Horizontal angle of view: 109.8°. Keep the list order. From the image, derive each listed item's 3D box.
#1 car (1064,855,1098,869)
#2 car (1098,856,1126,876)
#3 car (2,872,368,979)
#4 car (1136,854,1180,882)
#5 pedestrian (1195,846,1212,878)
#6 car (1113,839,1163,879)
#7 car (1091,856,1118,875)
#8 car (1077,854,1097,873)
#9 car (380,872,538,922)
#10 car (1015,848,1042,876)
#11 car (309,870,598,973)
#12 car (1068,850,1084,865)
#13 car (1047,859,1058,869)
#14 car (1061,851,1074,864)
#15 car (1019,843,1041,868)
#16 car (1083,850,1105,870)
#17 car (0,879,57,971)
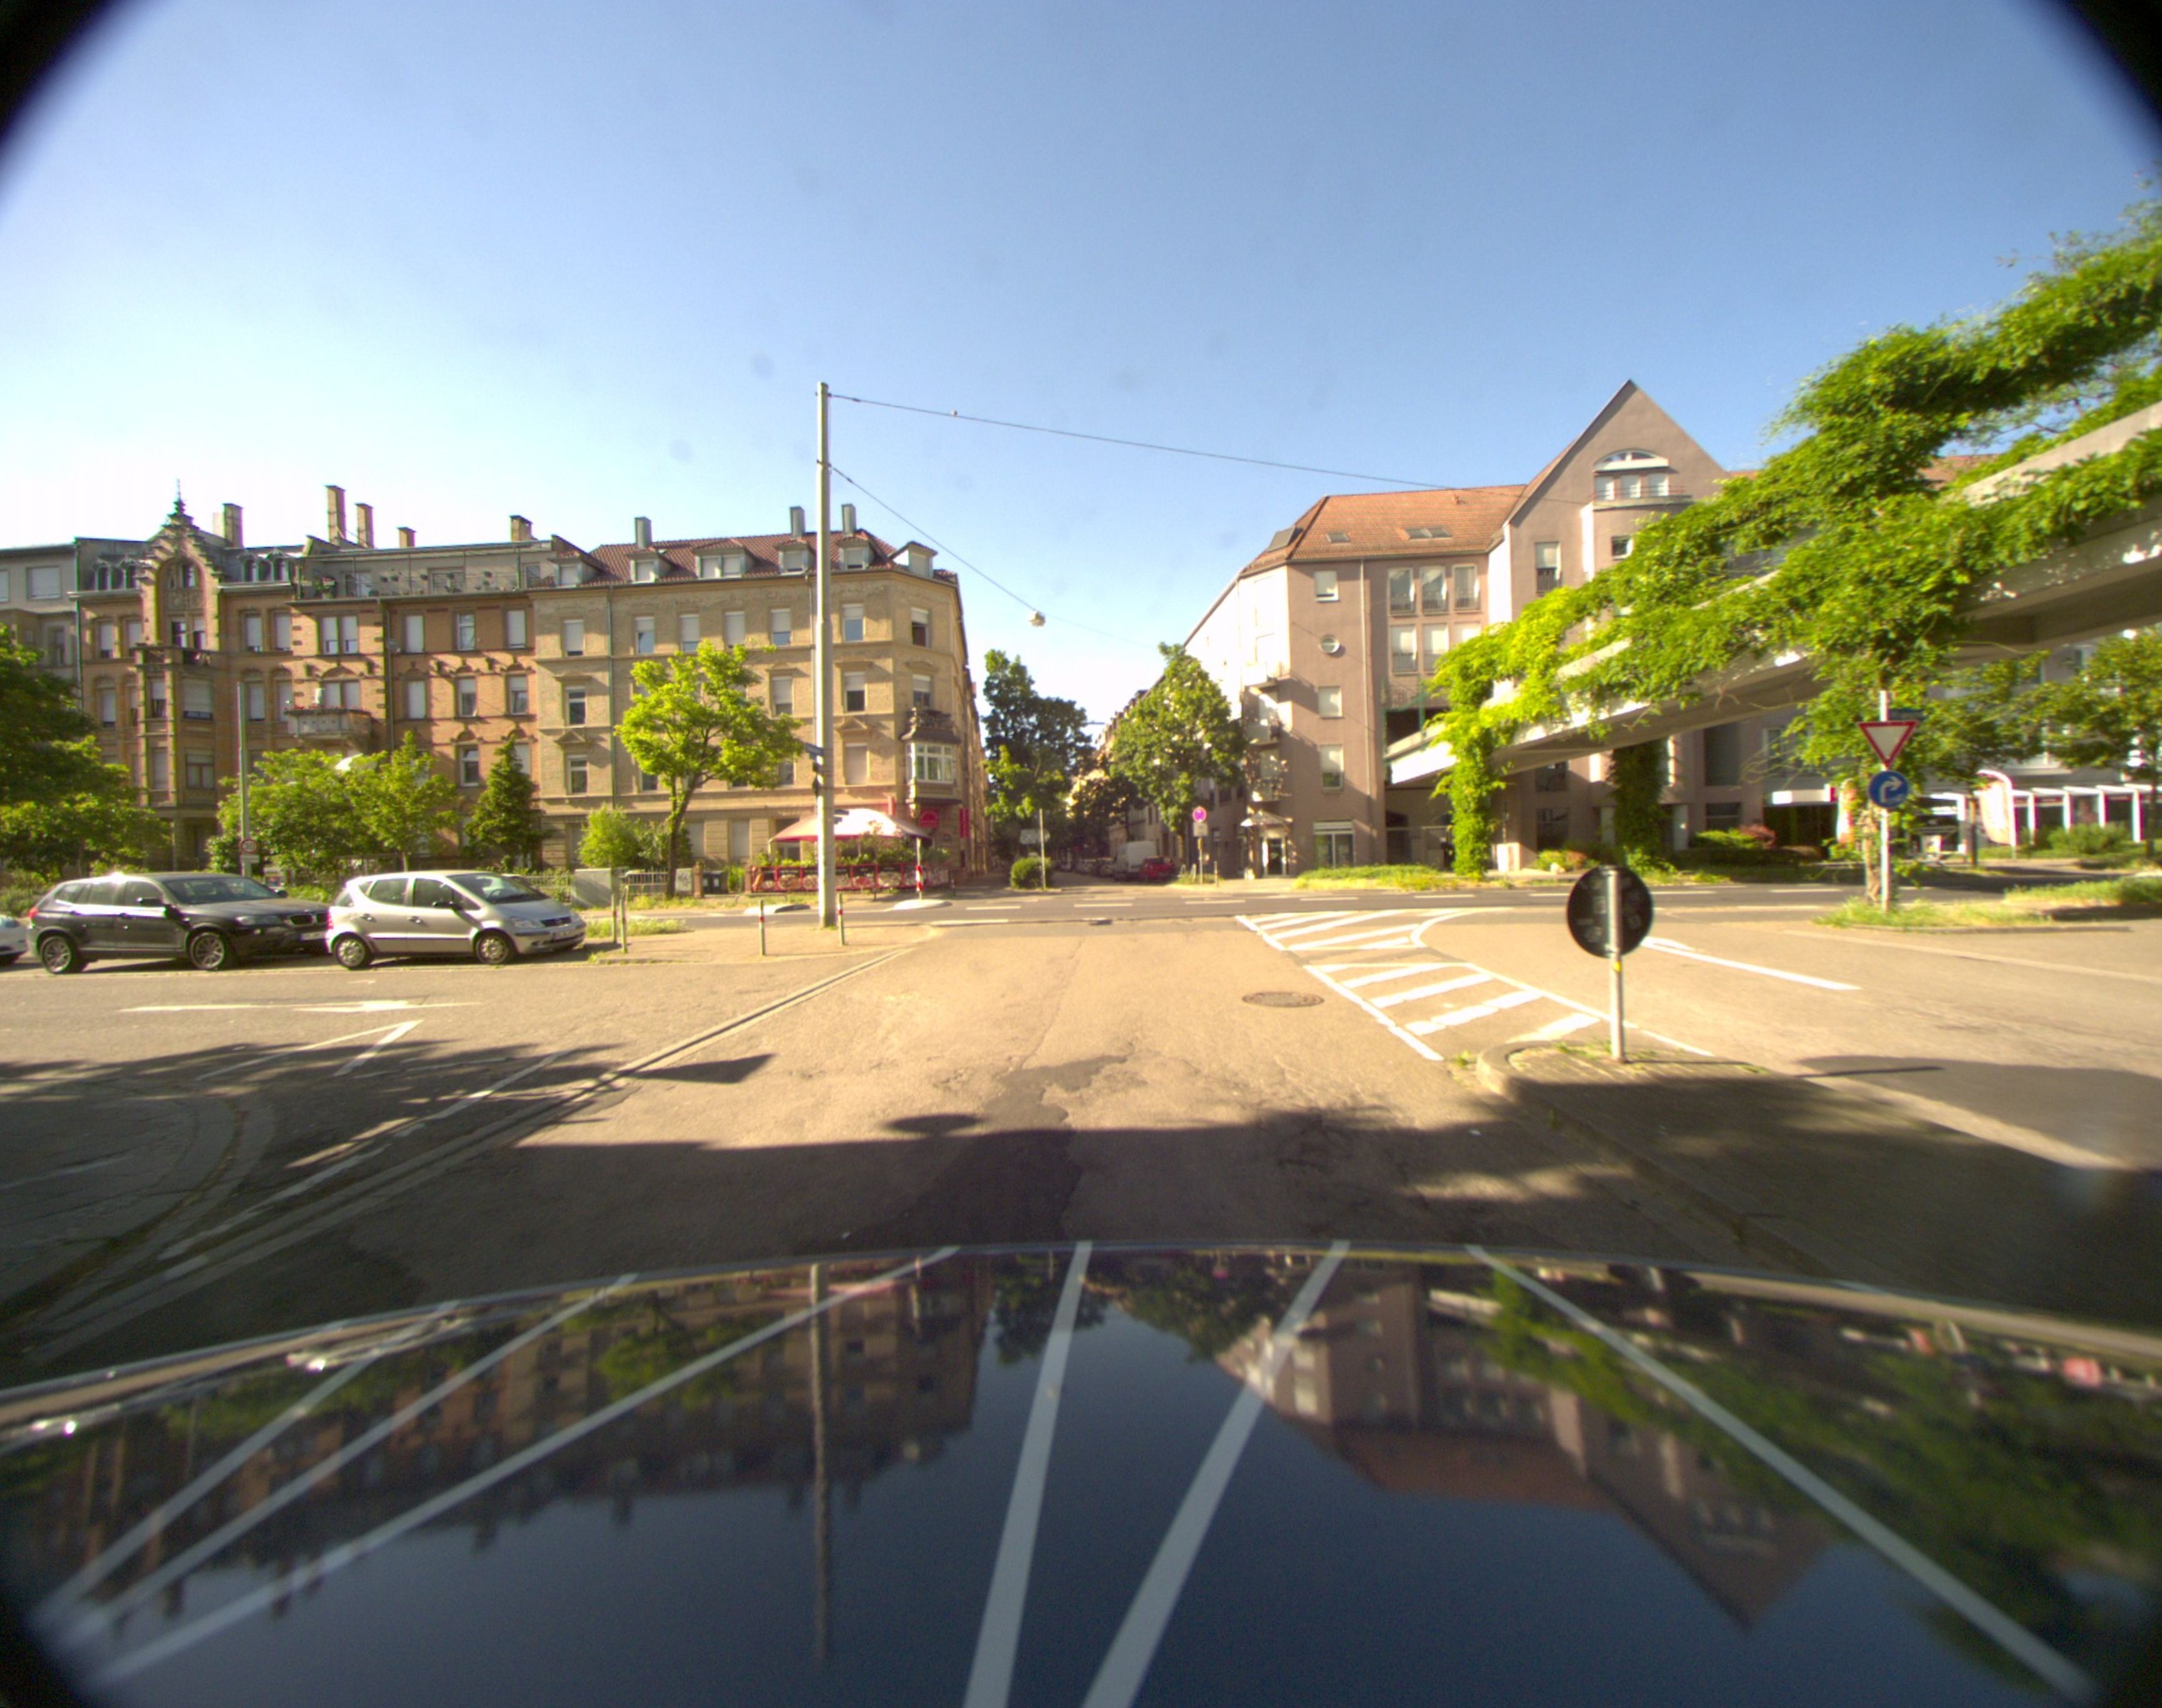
[{"bbox_3d":[-0.016,0.965,91.025,3.999,1.576,1.818,-1,-2,-5],"label":"car"},{"bbox_3d":[2.470,0.924,60.979,1.695,1.548,3.820,-2,0,-5],"label":"car"},{"bbox_3d":[-15.763,1.225,13.521,4.499,1.618,1.874,-2,1,5],"label":"car"},{"bbox_3d":[4.324,0.776,43.166,1.692,1.454,3.998,-2,0,-5],"label":"car"},{"bbox_3d":[6.107,0.377,37.848,0.632,1.567,0.532,-1,1,29],"label":"pedestrian"},{"bbox_3d":[3.599,0.314,49.083,2.220,2.437,5.091,-2,0,-7],"label":"car"},{"bbox_3d":[1.993,0.986,65.648,1.785,1.548,3.820,-2,0,-5],"label":"car"},{"bbox_3d":[0.596,1.015,82.179,1.777,1.871,3.998,-2,0,-4],"label":"car"},{"bbox_3d":[-21.228,1.459,26.032,4.095,1.521,1.665,-2,0,3],"label":"car"},{"bbox_3d":[-4.221,0.657,60.337,1.996,2.017,4.302,-2,-1,-5],"label":"car"},{"bbox_3d":[-10.703,1.119,13.148,3.528,1.510,1.725,-2,1,1],"label":"car"},{"bbox_3d":[-0.639,0.453,95.459,1.777,1.871,3.998,-2,0,-4],"label":"car"},{"bbox_3d":[-5.401,1.846,143.566,1.868,1.759,3.997,-2,0,-7],"label":"car"},{"bbox_3d":[-2.175,0.538,121.488,1.777,1.871,3.998,-2,0,-4],"label":"car"},{"bbox_3d":[-5.984,0.225,88.694,2.275,2.645,4.321,-2,-2,-7],"label":"car"},{"bbox_3d":[1.247,0.583,75.549,1.777,1.870,3.999,-2,0,-4],"label":"car"},{"bbox_3d":[-22.206,1.402,13.885,4.526,1.653,1.894,-2,2,3],"label":"car"}]
